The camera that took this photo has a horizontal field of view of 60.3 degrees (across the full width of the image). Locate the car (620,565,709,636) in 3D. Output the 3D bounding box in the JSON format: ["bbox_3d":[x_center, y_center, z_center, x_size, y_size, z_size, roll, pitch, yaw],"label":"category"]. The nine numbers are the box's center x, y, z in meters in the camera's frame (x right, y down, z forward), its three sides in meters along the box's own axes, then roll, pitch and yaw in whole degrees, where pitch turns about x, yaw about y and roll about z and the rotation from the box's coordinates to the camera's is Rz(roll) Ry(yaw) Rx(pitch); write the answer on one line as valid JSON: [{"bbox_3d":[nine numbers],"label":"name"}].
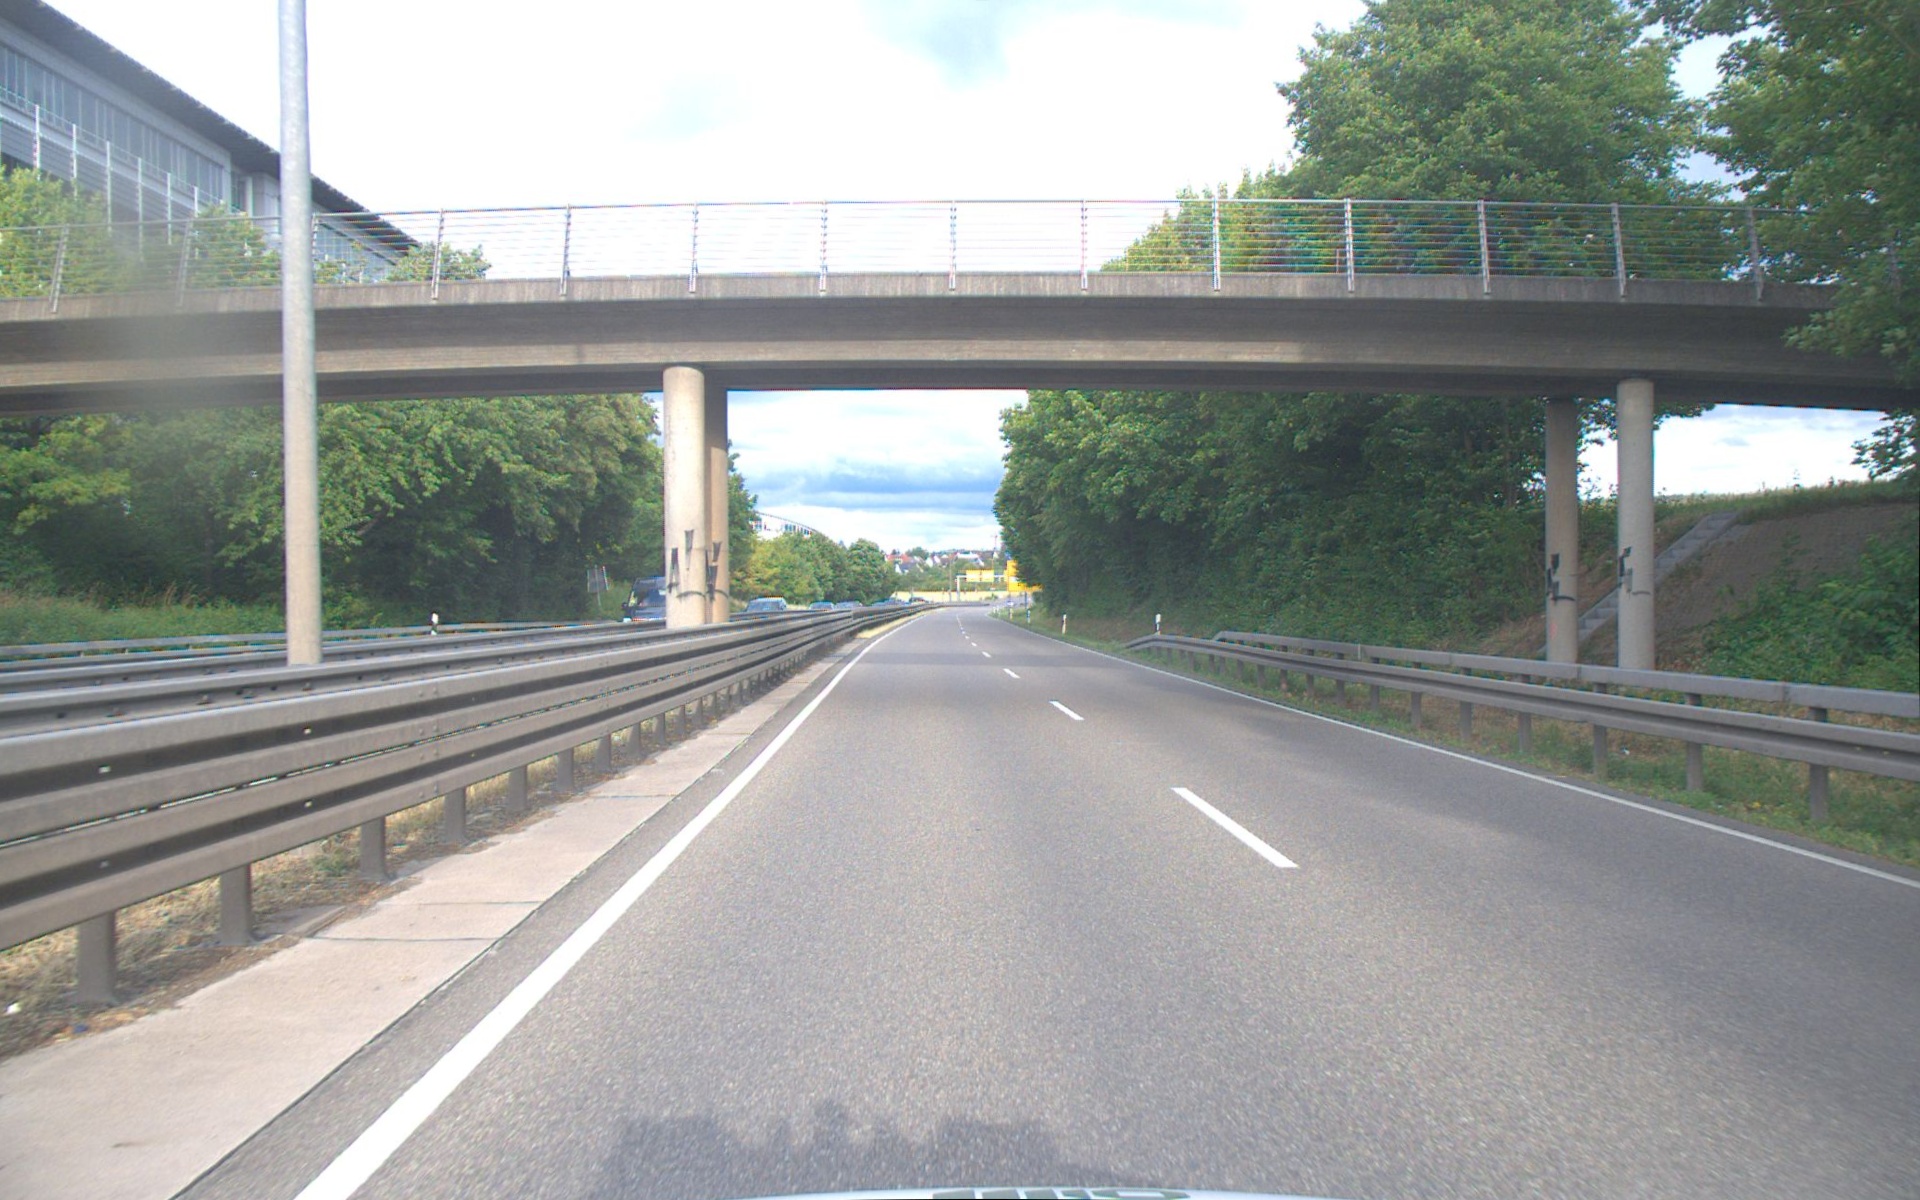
[{"bbox_3d":[-11.134,0.013,62.855,2.204,2.581,6.939,0,0,-1],"label":"car"}]
